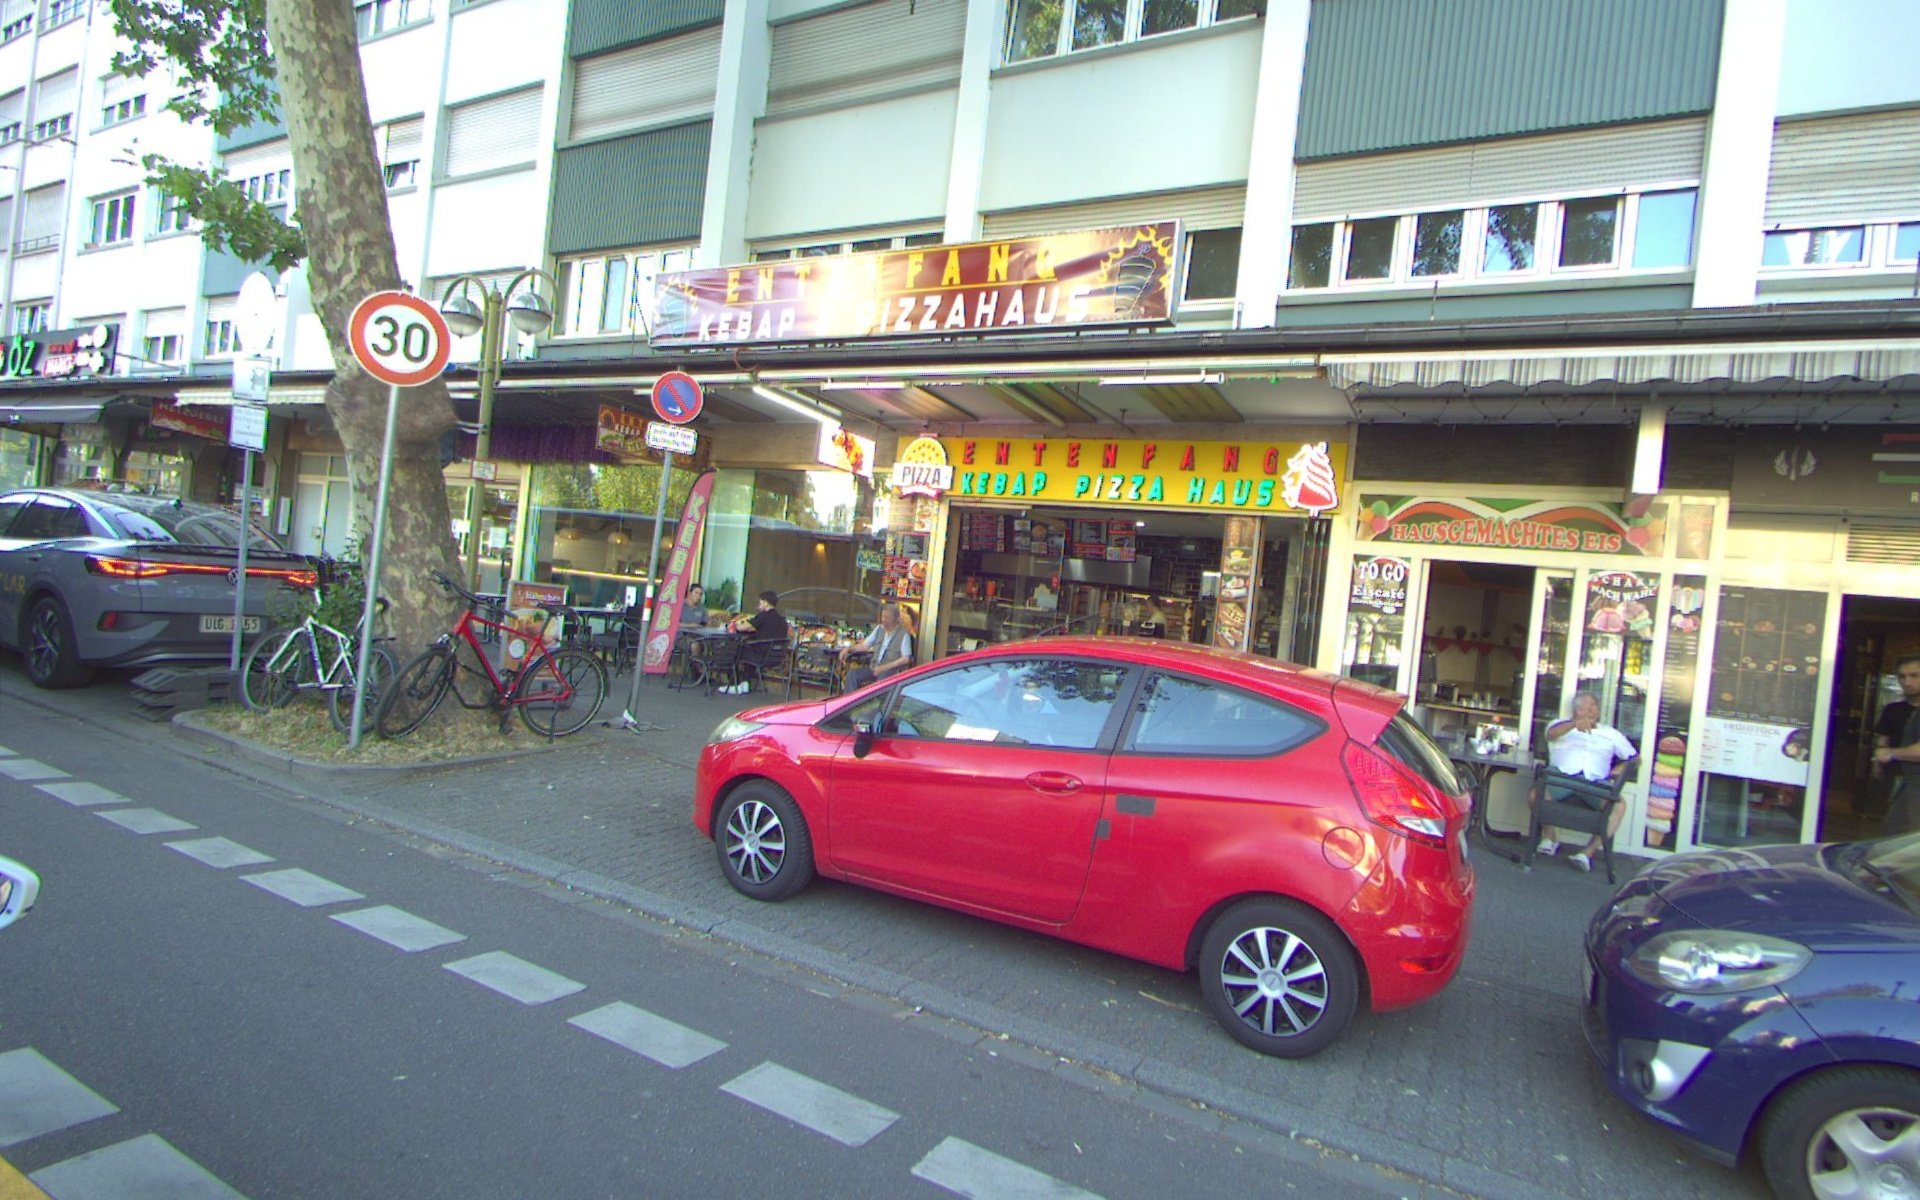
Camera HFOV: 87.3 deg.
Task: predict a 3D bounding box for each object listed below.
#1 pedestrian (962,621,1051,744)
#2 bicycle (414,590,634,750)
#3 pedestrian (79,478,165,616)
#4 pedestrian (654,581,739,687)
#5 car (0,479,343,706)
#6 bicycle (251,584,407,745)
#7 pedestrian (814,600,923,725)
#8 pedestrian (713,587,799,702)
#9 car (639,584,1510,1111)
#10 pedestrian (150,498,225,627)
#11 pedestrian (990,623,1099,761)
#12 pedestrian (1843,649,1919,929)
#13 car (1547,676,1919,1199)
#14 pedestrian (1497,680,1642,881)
[{"bbox_3d":[0.486,0.827,10.388,0.585,1.172,0.671,6,3,31],"label":"pedestrian"},{"bbox_3d":[-3.239,0.509,7.565,0.291,1.082,1.455,12,7,42],"label":"bicycle"},{"bbox_3d":[-13.118,-0.816,15.755,0.684,2.039,0.692,7,1,28],"label":"pedestrian"},{"bbox_3d":[-3.242,0.409,12.368,0.694,1.220,0.675,7,3,42],"label":"pedestrian"},{"bbox_3d":[-7.848,-0.200,9.220,4.223,1.619,1.742,7,2,27],"label":"car"},{"bbox_3d":[-4.451,0.430,7.086,1.110,0.941,0.295,9,6,21],"label":"bicycle"},{"bbox_3d":[-0.985,0.664,10.873,0.861,1.237,0.688,2,3,-44],"label":"pedestrian"},{"bbox_3d":[-2.396,0.511,11.805,0.701,1.260,0.614,7,3,41],"label":"pedestrian"},{"bbox_3d":[0.470,0.851,5.000,3.780,1.448,1.668,7,2,27],"label":"car"},{"bbox_3d":[-12.838,-0.611,16.731,0.684,2.039,0.613,7,1,29],"label":"pedestrian"},{"bbox_3d":[0.792,0.837,9.439,0.740,1.172,0.593,6,3,33],"label":"pedestrian"},{"bbox_3d":[6.400,1.239,6.618,0.579,1.759,0.596,8,3,29],"label":"pedestrian"},{"bbox_3d":[3.873,1.229,2.927,3.543,1.486,1.620,7,2,29],"label":"car"},{"bbox_3d":[4.630,1.299,7.628,0.767,1.249,1.202,6,3,33],"label":"pedestrian"}]
